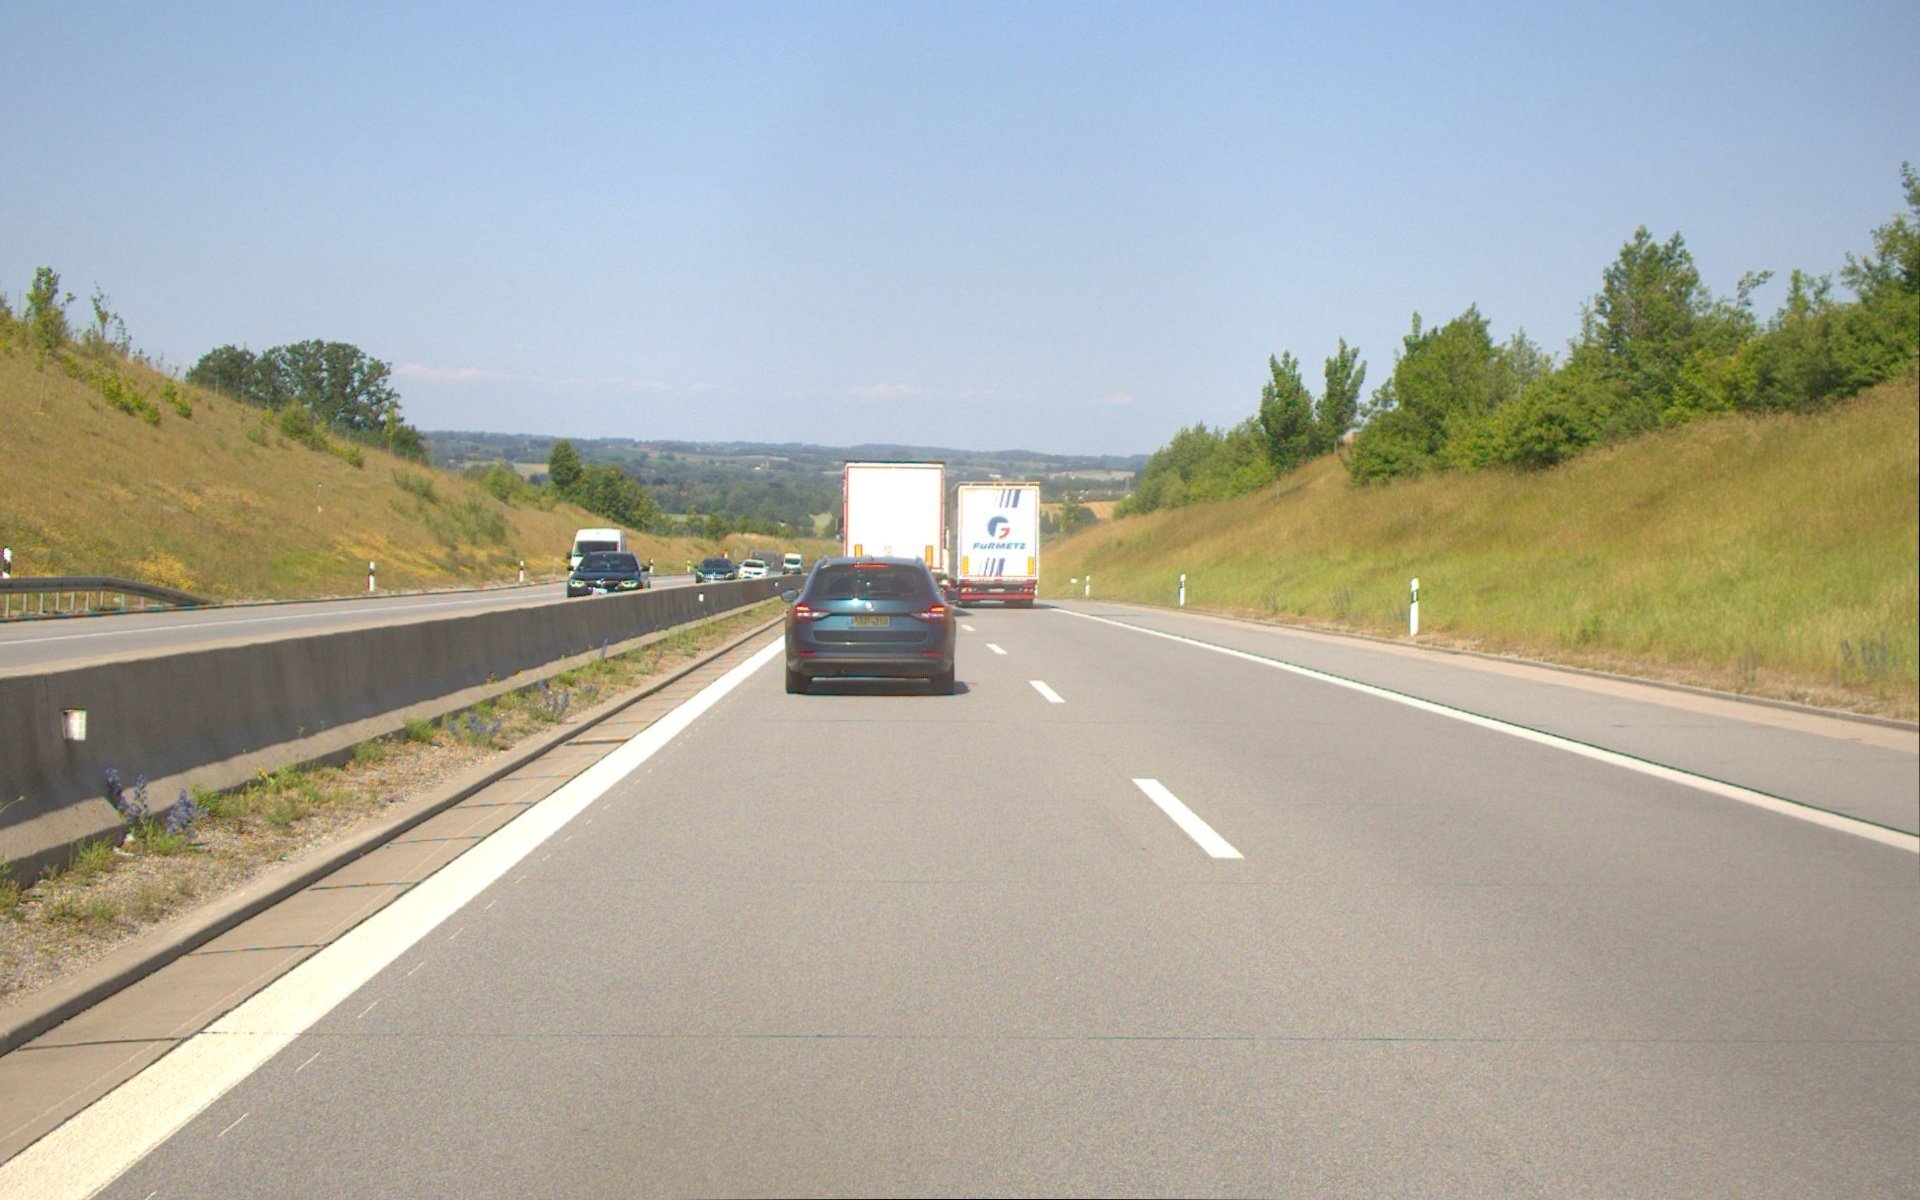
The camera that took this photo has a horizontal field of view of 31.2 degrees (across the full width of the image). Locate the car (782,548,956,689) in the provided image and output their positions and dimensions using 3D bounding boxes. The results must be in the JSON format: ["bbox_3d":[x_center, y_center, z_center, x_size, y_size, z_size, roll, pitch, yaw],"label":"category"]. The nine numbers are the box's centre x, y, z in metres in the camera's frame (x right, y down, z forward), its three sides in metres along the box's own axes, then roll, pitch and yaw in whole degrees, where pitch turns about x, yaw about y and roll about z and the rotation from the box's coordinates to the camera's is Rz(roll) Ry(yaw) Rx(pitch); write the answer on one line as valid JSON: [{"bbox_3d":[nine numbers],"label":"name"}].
[{"bbox_3d":[-1.013,0.163,37.056,1.776,1.436,3.789,0,1,-2],"label":"car"}]

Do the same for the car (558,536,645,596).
[{"bbox_3d":[-9.171,-0.890,88.185,1.853,1.456,4.769,1,1,-2],"label":"car"}]

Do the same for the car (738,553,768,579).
[{"bbox_3d":[-13.394,-2.197,222.689,1.775,1.596,4.040,1,1,-2],"label":"car"}]

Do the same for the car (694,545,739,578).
[{"bbox_3d":[-11.229,-1.800,158.881,1.853,1.456,4.333,1,1,-2],"label":"car"}]

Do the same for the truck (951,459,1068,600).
[{"bbox_3d":[1.671,-2.297,113.130,3.604,4.366,11.233,1,1,1],"label":"truck"}]

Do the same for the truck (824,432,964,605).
[{"bbox_3d":[-1.682,-2.159,93.348,3.211,4.366,11.233,1,1,2],"label":"truck"}]
